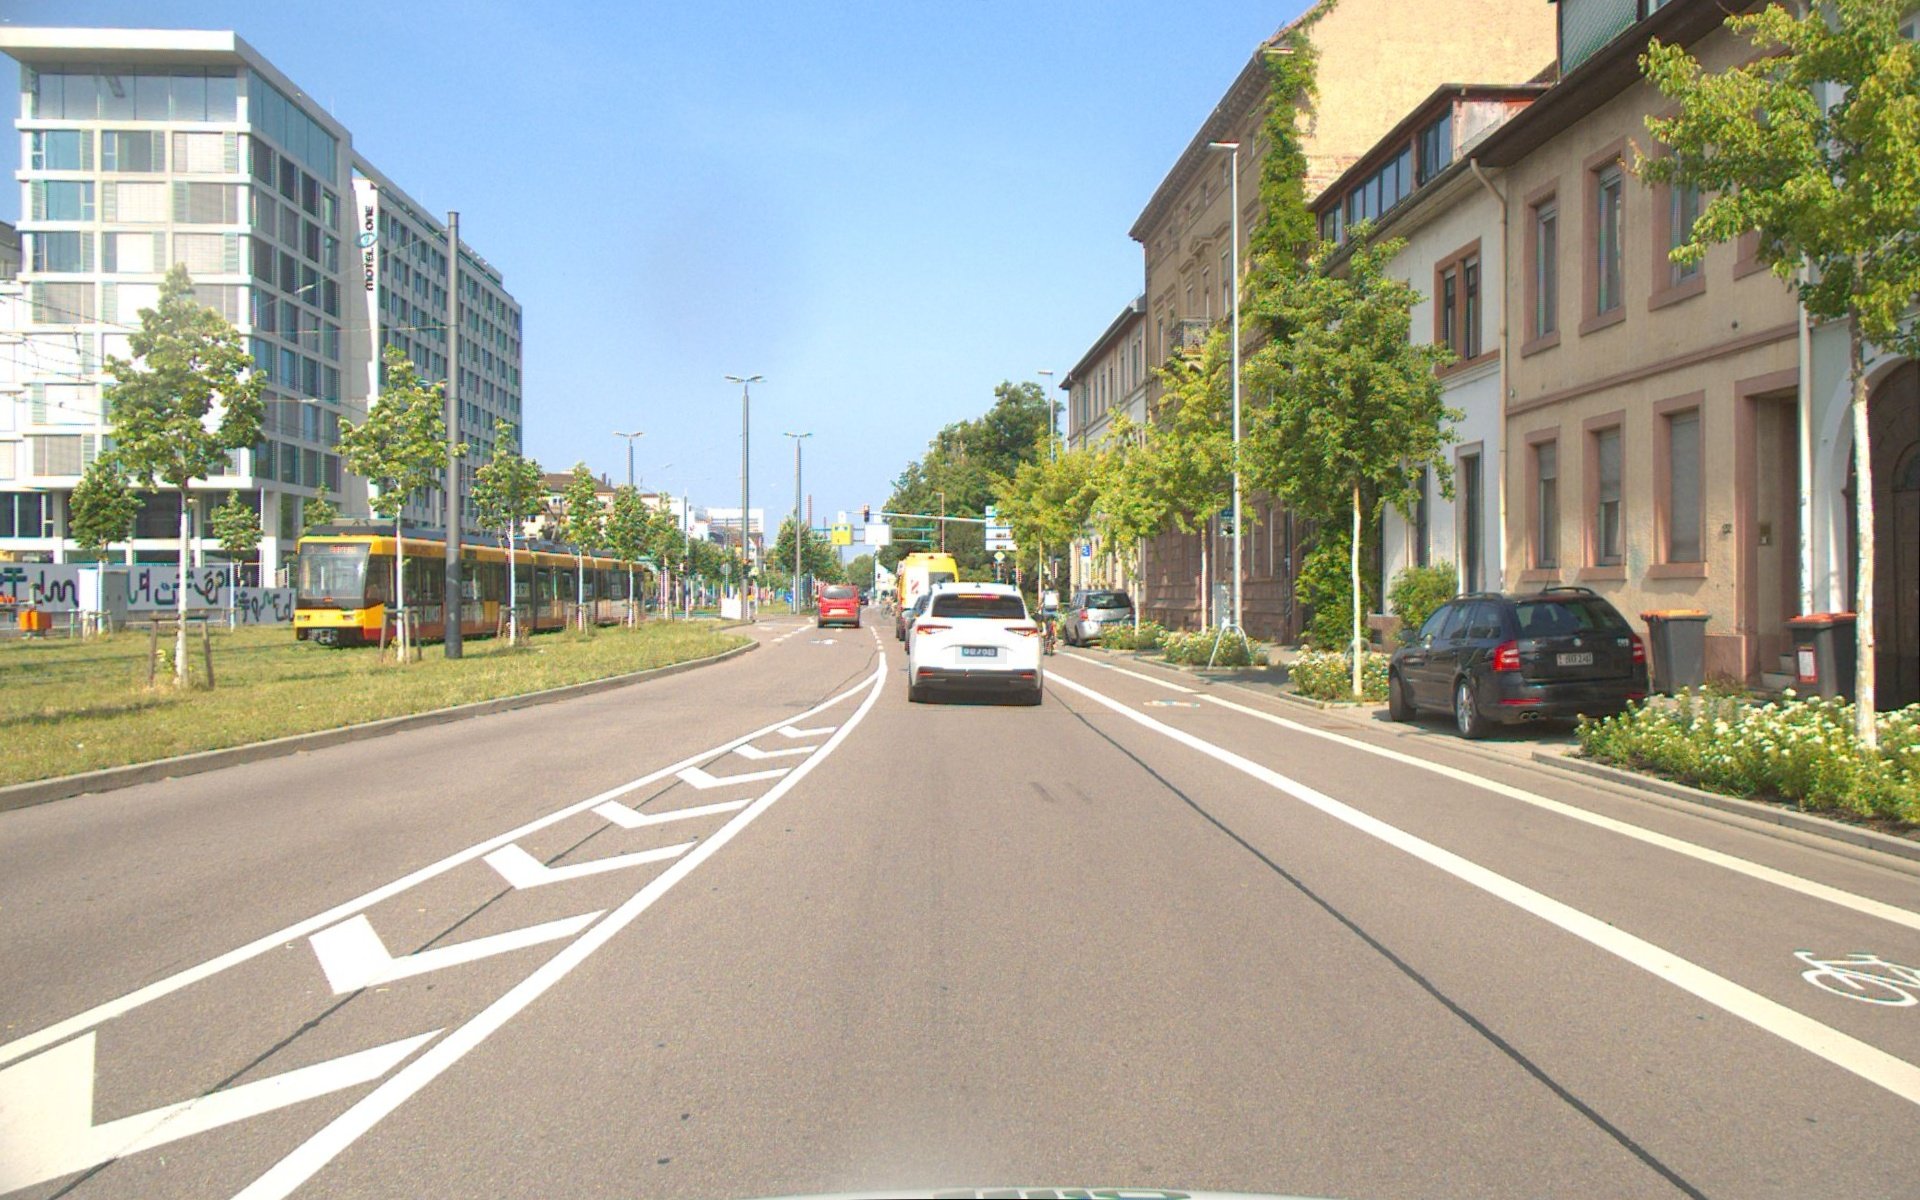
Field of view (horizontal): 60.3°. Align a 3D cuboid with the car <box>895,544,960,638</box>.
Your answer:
[{"bbox_3d":[-1.101,-0.367,53.492,1.980,2.844,5.399,0,2,-3],"label":"car"}]

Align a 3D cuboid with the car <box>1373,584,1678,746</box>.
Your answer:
[{"bbox_3d":[6.000,0.621,18.106,1.640,1.509,4.309,-2,0,-3],"label":"car"}]

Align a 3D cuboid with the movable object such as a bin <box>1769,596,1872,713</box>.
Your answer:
[{"bbox_3d":[9.243,0.570,17.785,0.666,1.221,0.781,0,1,-4],"label":"movable object such as a bin"}]

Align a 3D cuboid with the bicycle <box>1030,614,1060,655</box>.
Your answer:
[{"bbox_3d":[2.081,0.834,40.676,0.642,0.955,1.517,0,0,-1],"label":"bicycle"}]

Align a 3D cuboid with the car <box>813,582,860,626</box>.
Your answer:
[{"bbox_3d":[-5.437,0.153,73.161,1.891,1.853,3.999,0,1,-2],"label":"car"}]

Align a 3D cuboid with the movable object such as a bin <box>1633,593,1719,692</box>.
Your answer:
[{"bbox_3d":[8.996,0.523,20.805,0.725,1.221,0.773,0,1,-4],"label":"movable object such as a bin"}]

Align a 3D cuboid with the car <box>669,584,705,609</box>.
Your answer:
[{"bbox_3d":[-18.614,-0.243,112.932,1.779,1.650,4.000,0,1,-1],"label":"car"}]

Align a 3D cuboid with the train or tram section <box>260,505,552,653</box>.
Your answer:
[{"bbox_3d":[-16.519,-0.547,51.715,2.846,3.740,18.136,1,0,0],"label":"train or tram section"}]

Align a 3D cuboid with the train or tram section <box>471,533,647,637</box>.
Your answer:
[{"bbox_3d":[-16.470,-0.563,69.939,2.846,3.772,18.290,1,0,0],"label":"train or tram section"}]

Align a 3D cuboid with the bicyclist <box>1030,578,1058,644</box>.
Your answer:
[{"bbox_3d":[2.073,0.269,40.869,0.626,1.604,0.771,0,0,-1],"label":"bicyclist"}]

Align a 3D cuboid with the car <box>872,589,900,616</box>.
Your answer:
[{"bbox_3d":[-5.177,0.167,115.620,1.891,1.853,3.999,0,1,-2],"label":"car"}]

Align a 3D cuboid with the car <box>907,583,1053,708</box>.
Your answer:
[{"bbox_3d":[0.194,0.560,23.225,1.832,1.602,3.998,0,1,-3],"label":"car"}]

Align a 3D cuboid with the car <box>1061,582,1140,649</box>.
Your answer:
[{"bbox_3d":[4.058,0.411,48.269,1.776,1.844,3.833,0,1,-3],"label":"car"}]
